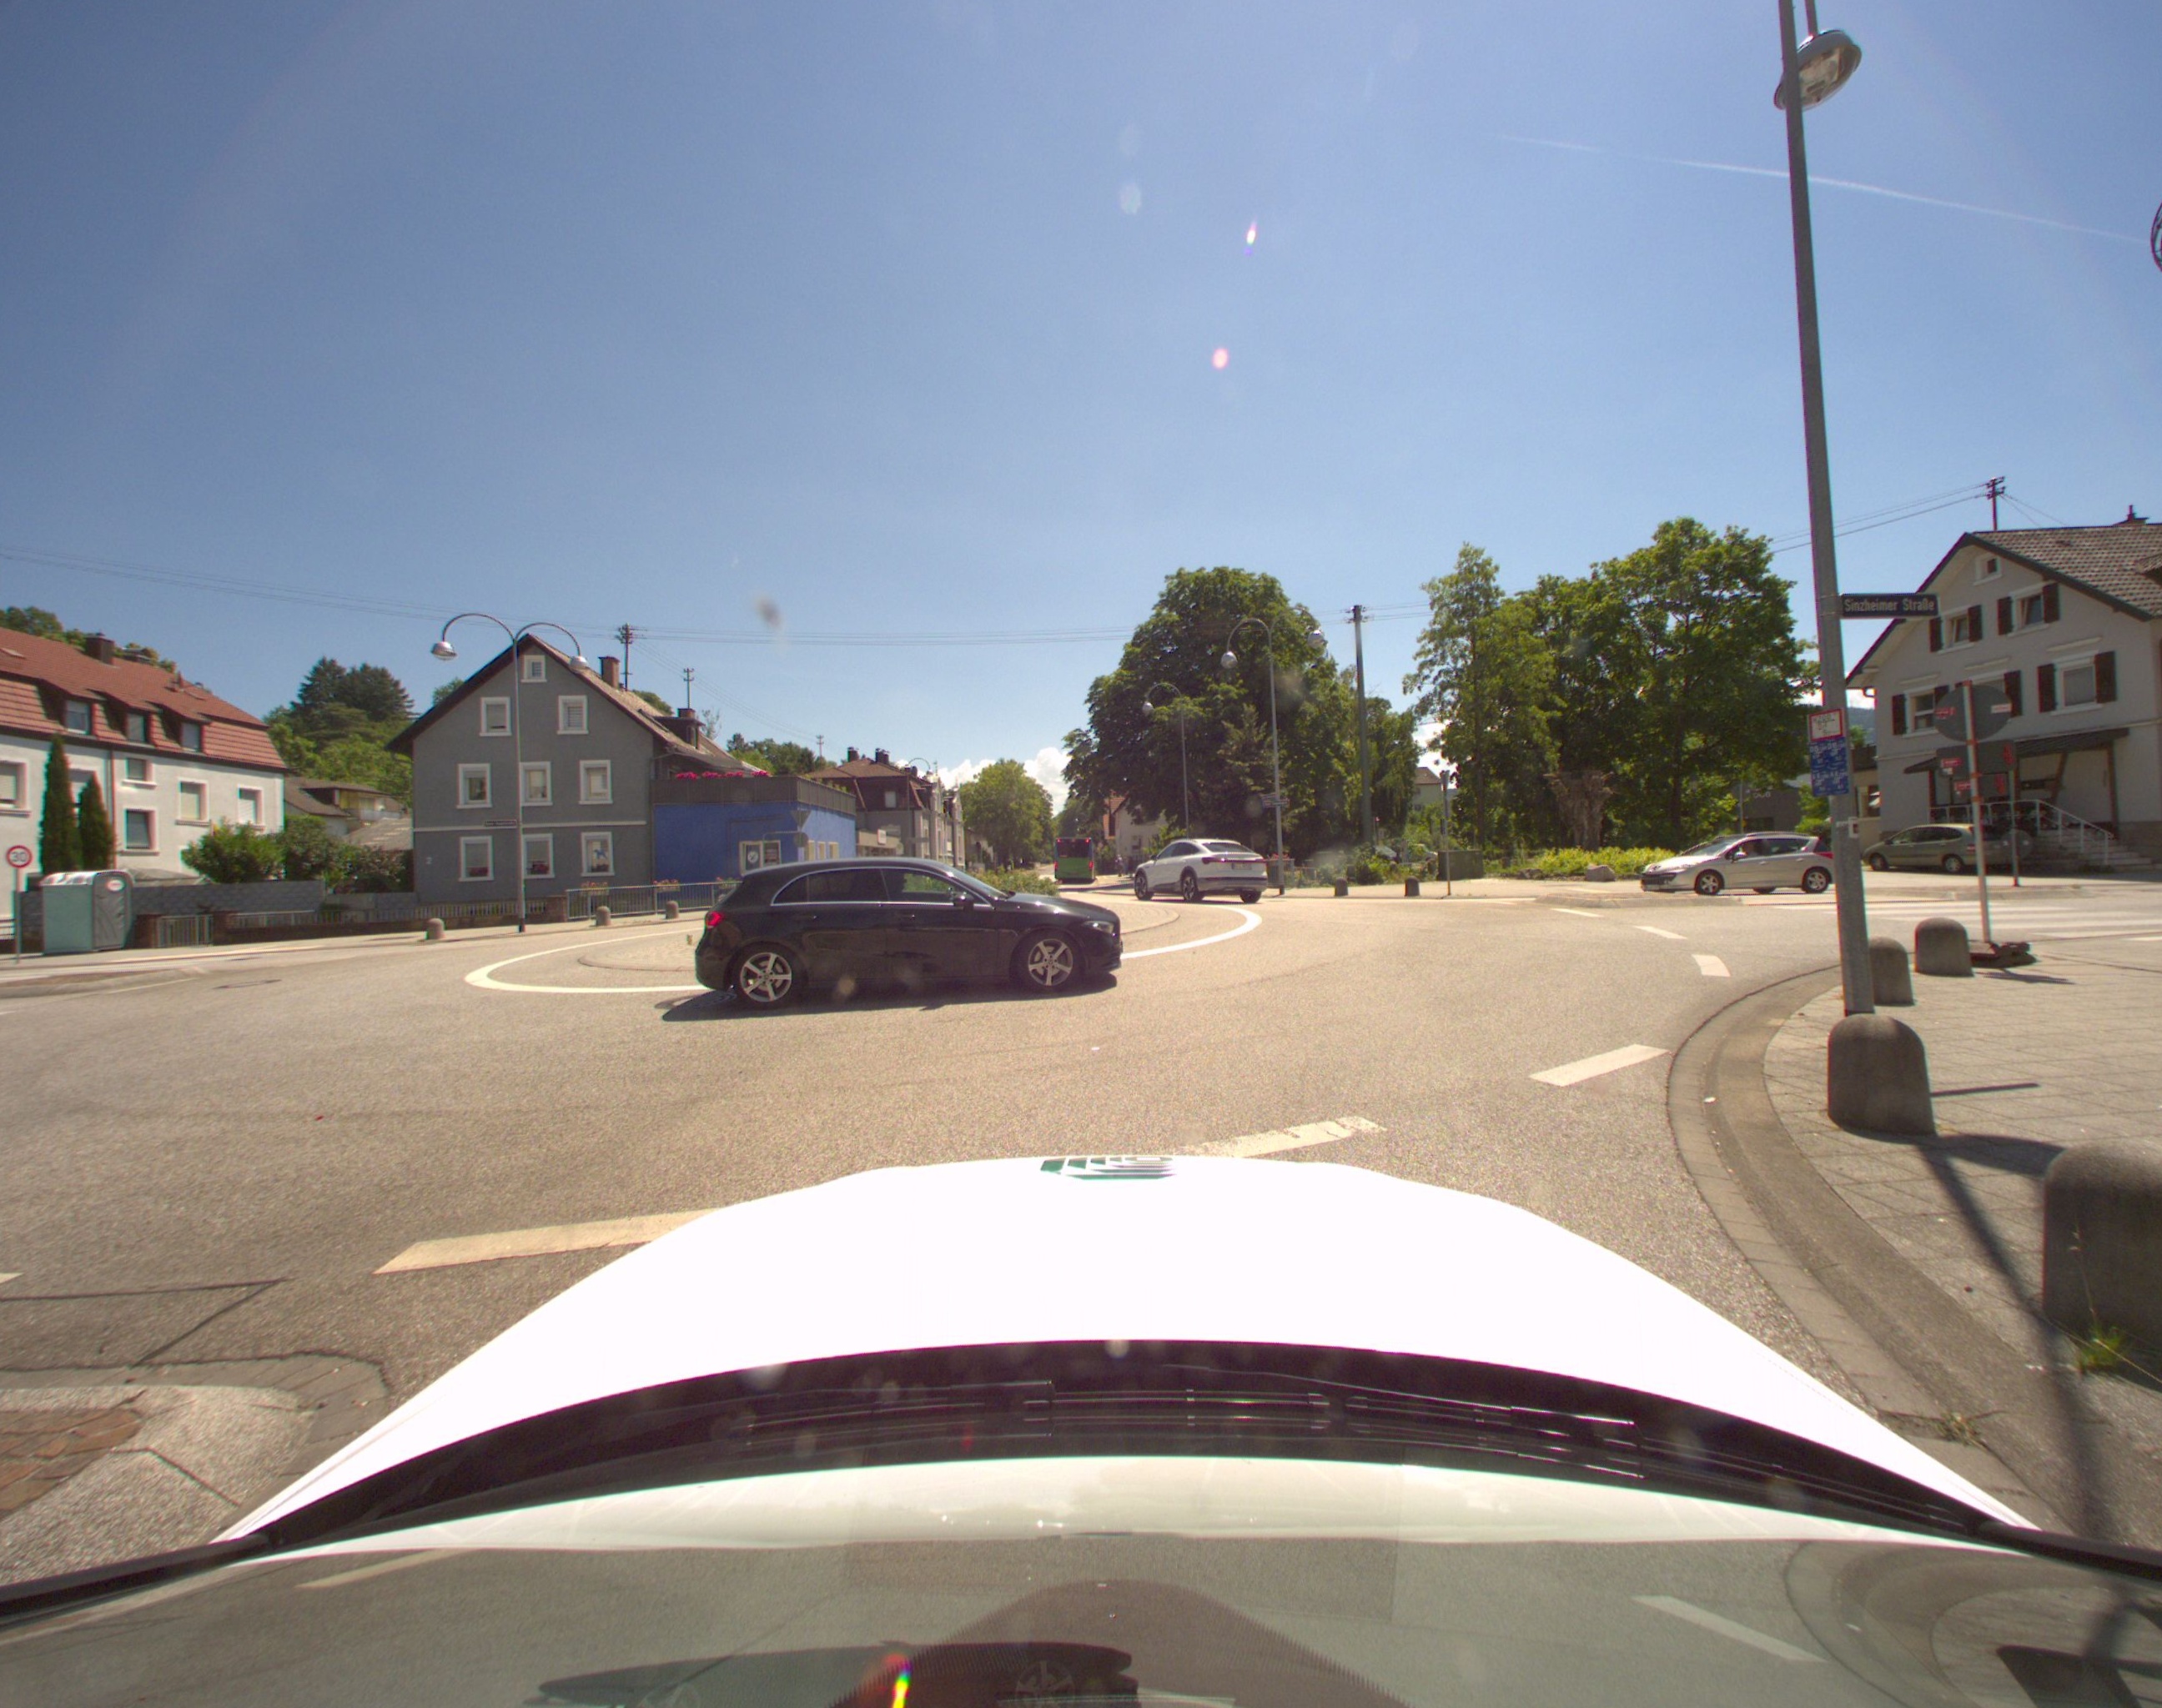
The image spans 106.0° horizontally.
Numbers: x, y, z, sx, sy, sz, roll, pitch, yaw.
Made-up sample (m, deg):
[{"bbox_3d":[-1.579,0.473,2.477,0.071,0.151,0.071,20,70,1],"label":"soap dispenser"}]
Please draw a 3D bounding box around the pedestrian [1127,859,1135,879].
[{"bbox_3d":[3.738,1.106,61.231,0.489,1.454,0.529,-2,-1,-6],"label":"pedestrian"}]

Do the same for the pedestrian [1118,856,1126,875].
[{"bbox_3d":[3.368,0.948,66.498,0.488,1.522,0.541,-2,-1,-6],"label":"pedestrian"}]

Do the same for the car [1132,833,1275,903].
[{"bbox_3d":[3.091,0.384,21.486,1.904,1.662,4.379,1,-1,-20],"label":"car"}]

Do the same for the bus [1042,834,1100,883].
[{"bbox_3d":[-0.450,0.427,62.313,3.693,3.171,18.072,-1,-1,1],"label":"bus"}]

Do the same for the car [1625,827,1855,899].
[{"bbox_3d":[16.096,0.217,20.053,4.178,1.516,1.747,-2,0,2],"label":"car"}]

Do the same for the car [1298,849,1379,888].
[{"bbox_3d":[11.602,0.631,36.717,3.053,1.552,1.626,-3,0,-14],"label":"car"}]

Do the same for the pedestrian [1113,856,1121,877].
[{"bbox_3d":[2.829,0.956,63.895,0.501,1.650,0.578,-2,-1,-6],"label":"pedestrian"}]

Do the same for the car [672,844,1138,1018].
[{"bbox_3d":[-1.744,0.707,8.861,4.422,1.457,1.763,-2,1,-9],"label":"car"}]

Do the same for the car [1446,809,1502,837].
[{"bbox_3d":[32.026,-2.493,66.425,3.950,2.013,2.012,-3,0,26],"label":"car"}]

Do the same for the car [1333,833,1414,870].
[{"bbox_3d":[17.107,-0.115,47.710,2.011,2.013,3.953,-2,-1,-40],"label":"car"}]

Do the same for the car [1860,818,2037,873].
[{"bbox_3d":[28.880,-0.272,27.329,1.745,1.640,4.003,-2,0,3],"label":"car"}]
